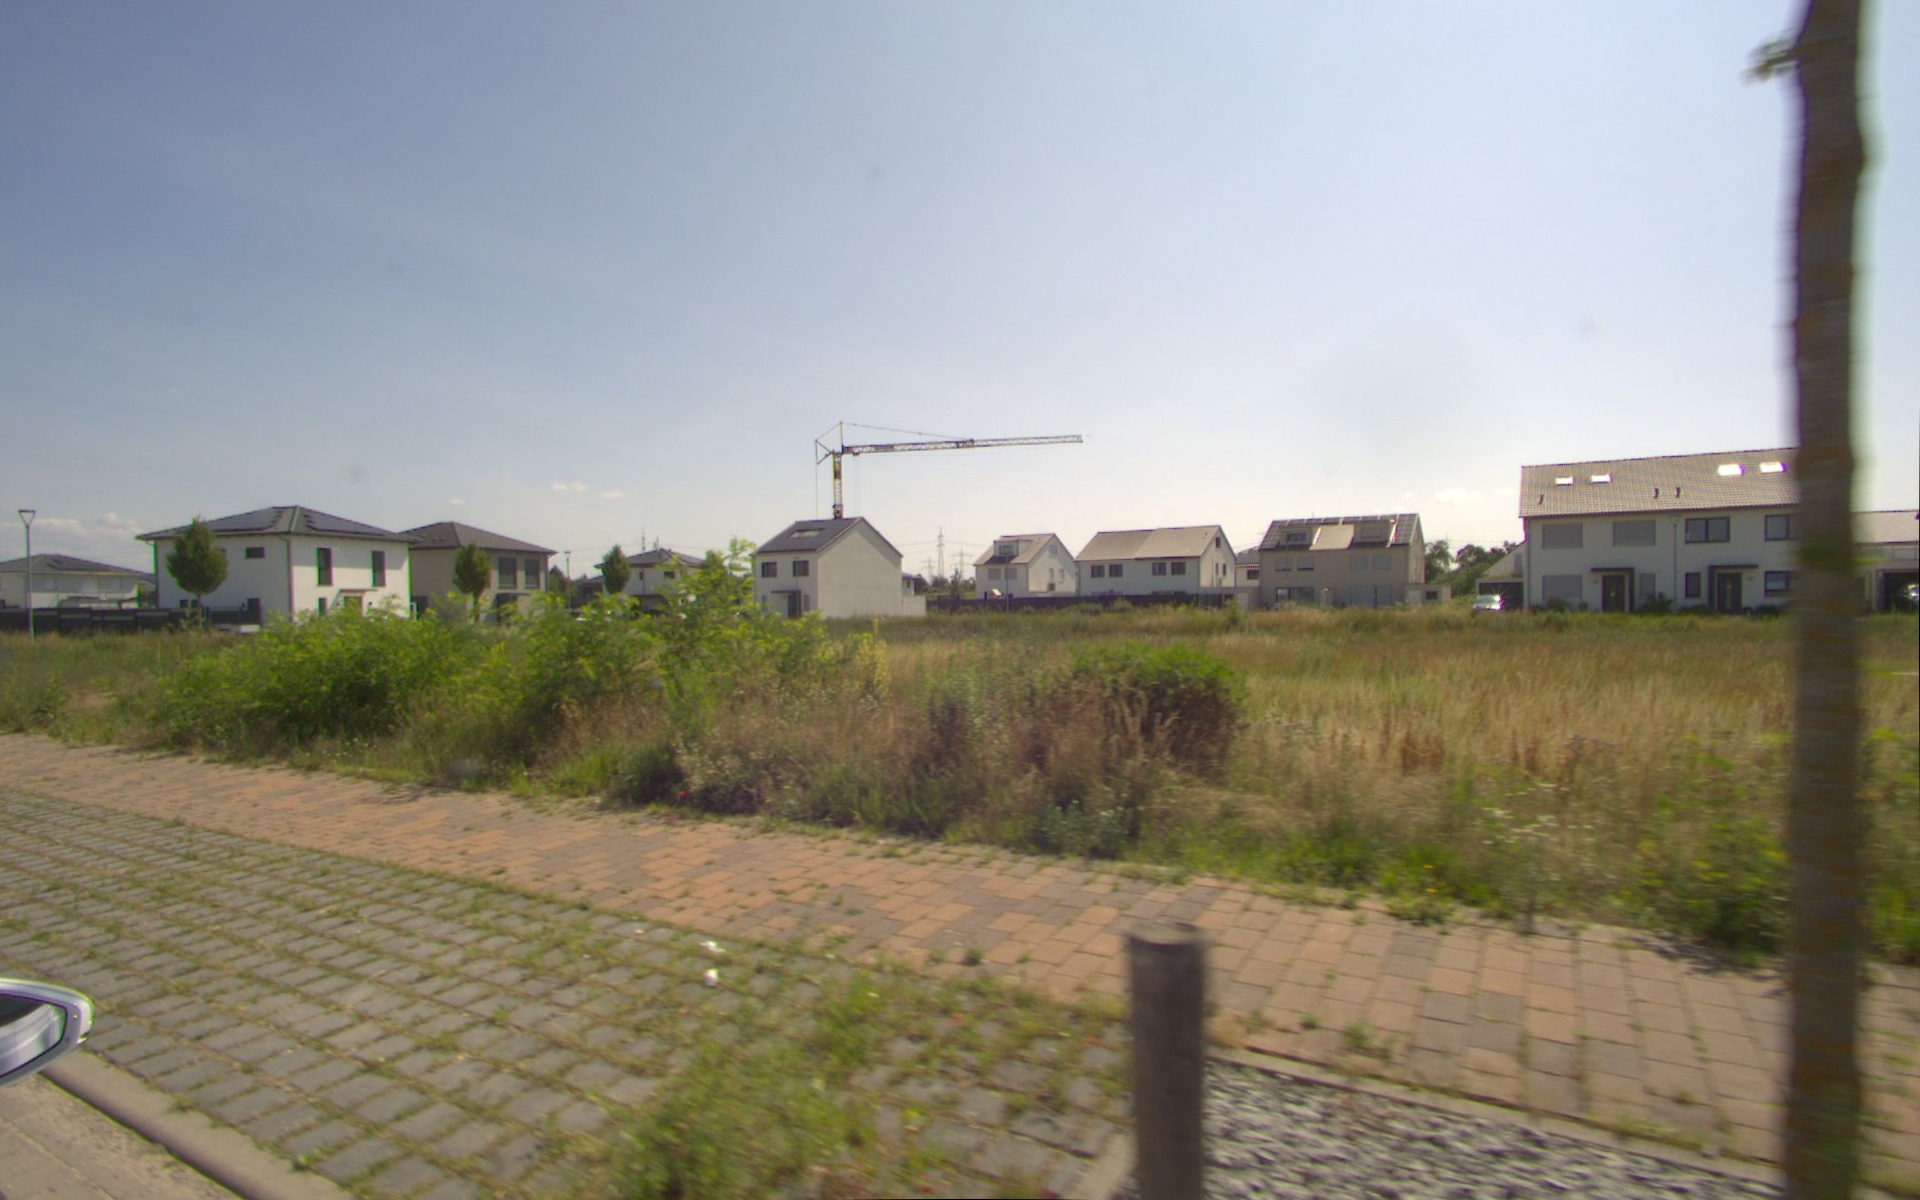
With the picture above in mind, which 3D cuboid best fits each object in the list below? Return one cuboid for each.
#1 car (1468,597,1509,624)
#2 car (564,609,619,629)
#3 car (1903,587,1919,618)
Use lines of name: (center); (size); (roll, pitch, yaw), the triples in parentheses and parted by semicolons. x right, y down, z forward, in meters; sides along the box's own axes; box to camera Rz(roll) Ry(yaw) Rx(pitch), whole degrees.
car: (32.800, 0.653, 62.109); (1.790, 1.595, 3.976); (0, 0, 34)
car: (-27.231, 1.391, 74.072); (1.719, 1.416, 3.994); (-2, -1, 17)
car: (49.630, 0.104, 50.940); (1.790, 1.532, 3.976); (0, 0, 34)
